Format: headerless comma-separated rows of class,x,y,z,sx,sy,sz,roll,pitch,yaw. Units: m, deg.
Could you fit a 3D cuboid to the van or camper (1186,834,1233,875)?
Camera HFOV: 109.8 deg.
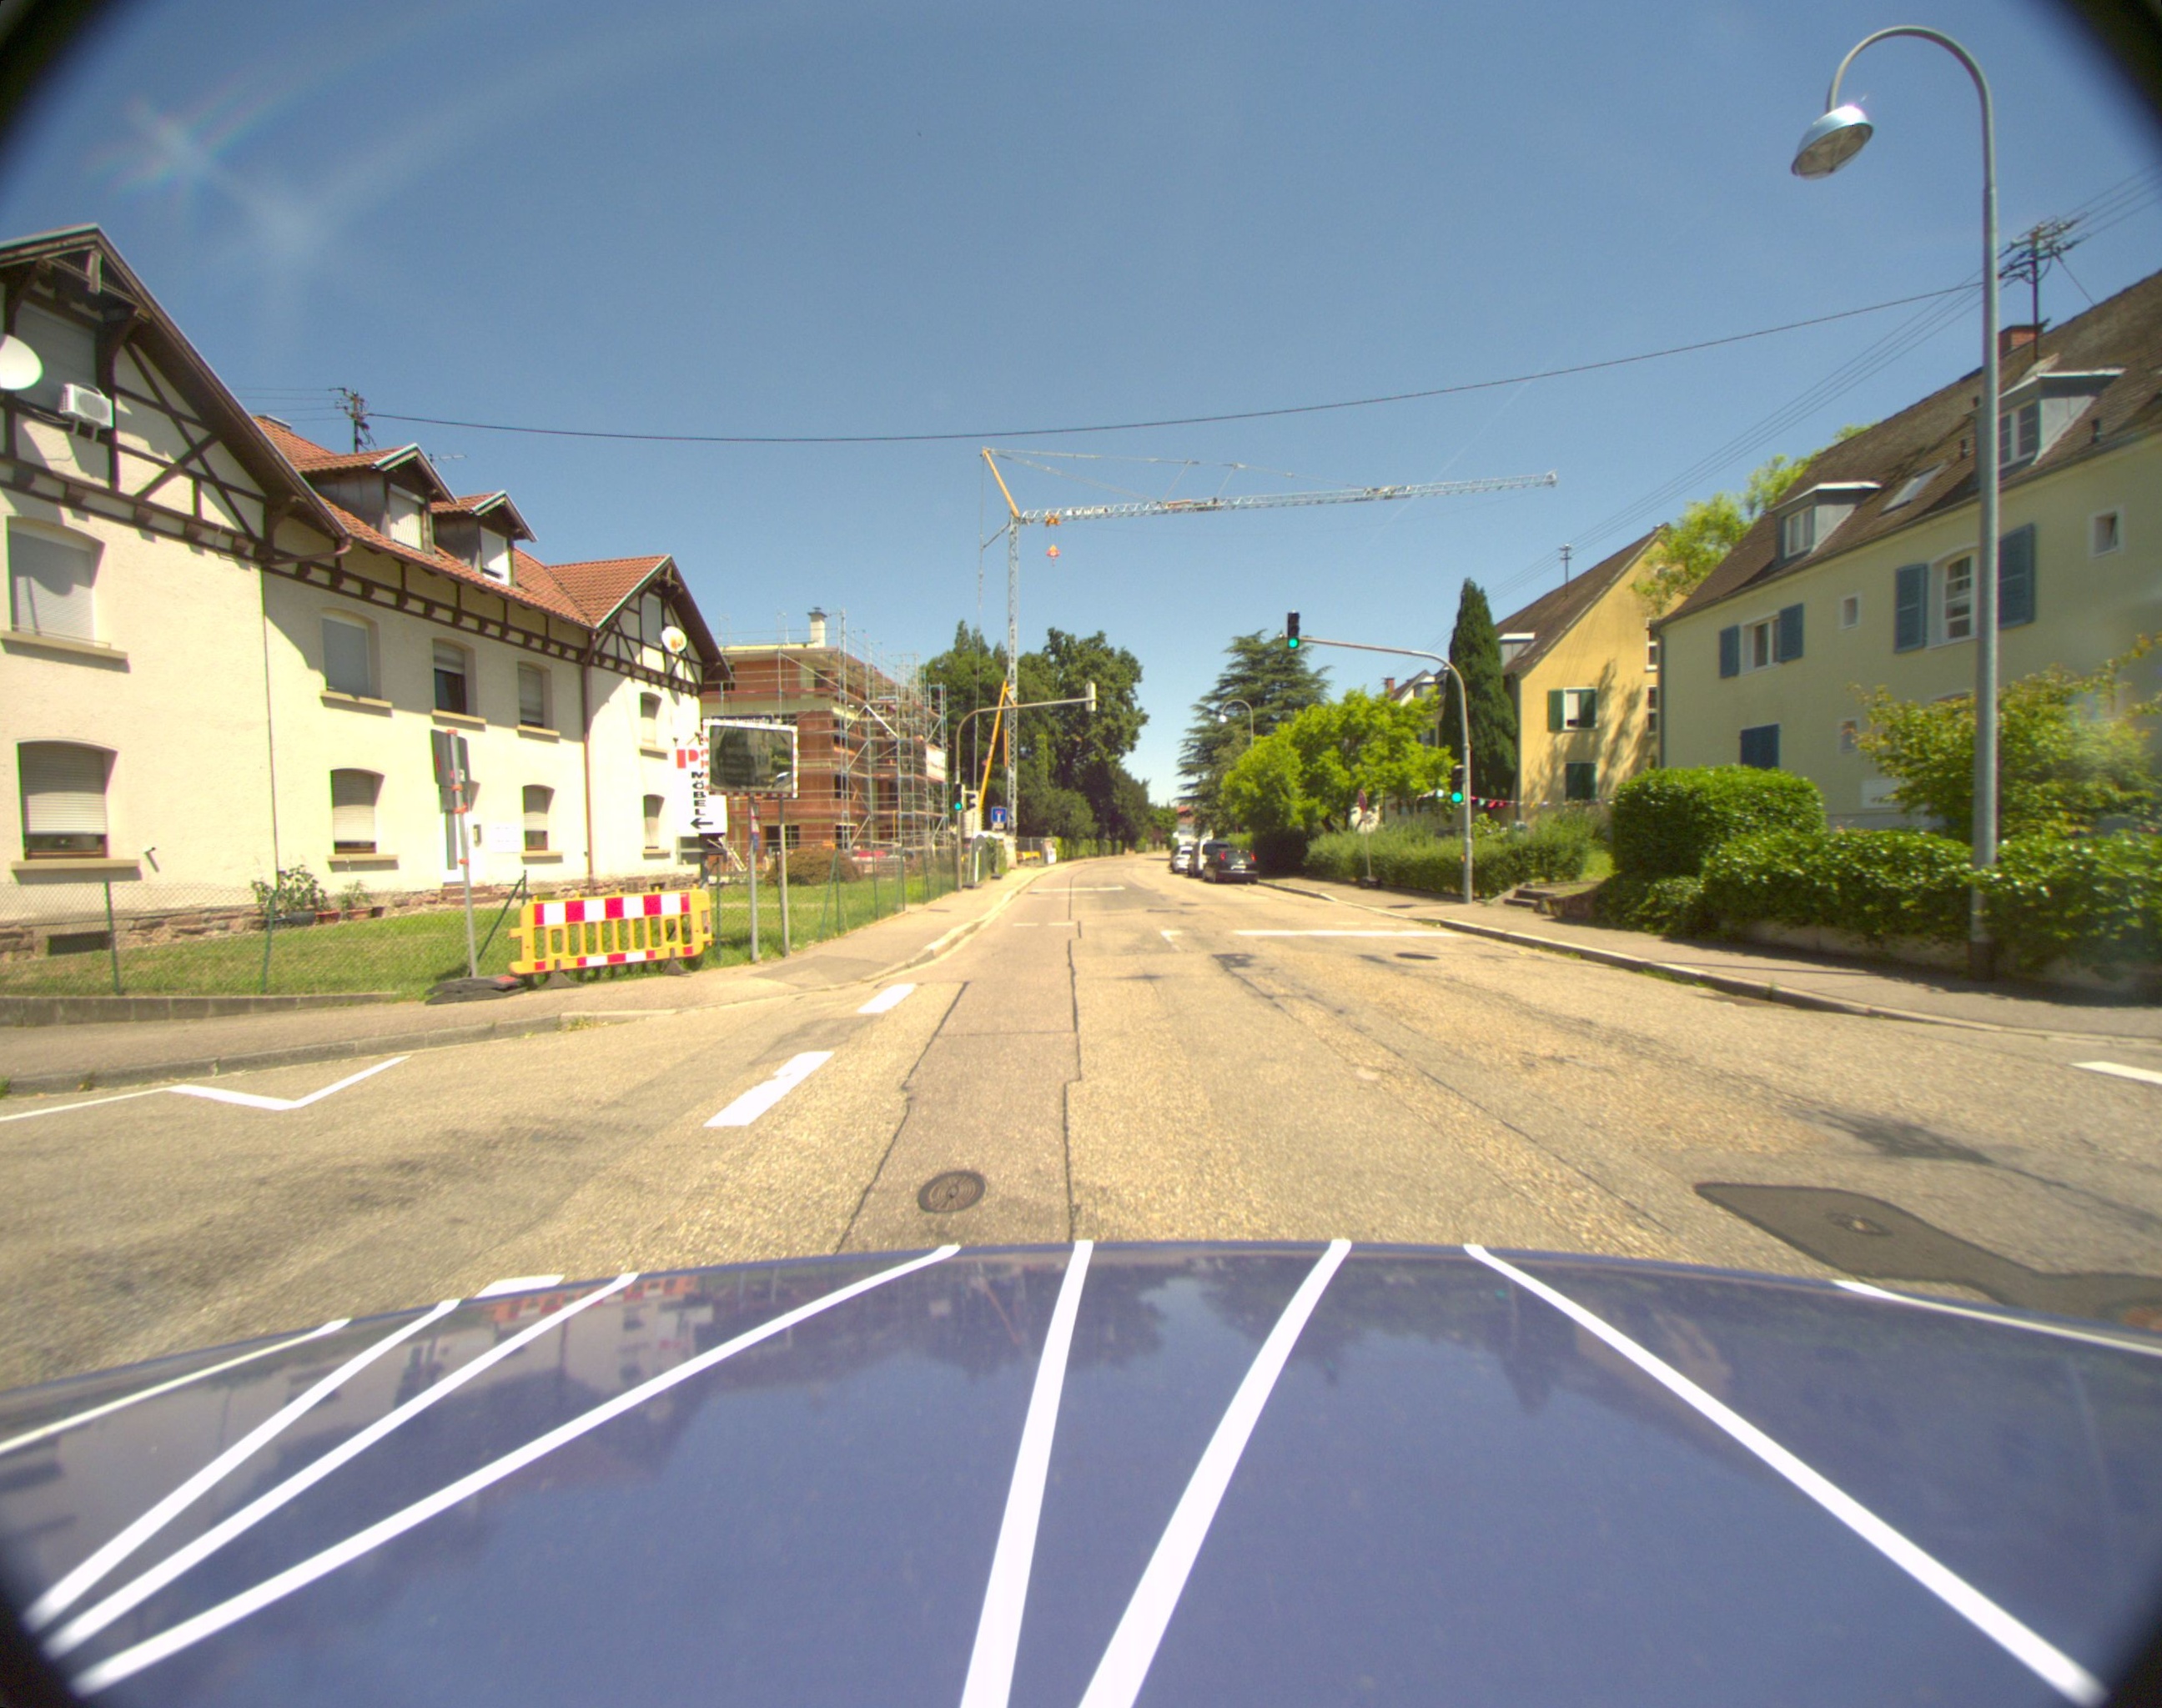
van or camper,6.011,-0.019,35.964,1.685,1.794,3.985,1,1,2

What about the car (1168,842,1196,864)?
car,7.024,-0.107,53.387,1.684,1.467,4.331,1,1,4

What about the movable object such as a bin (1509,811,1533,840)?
movable object such as a bin,18.426,-1.183,31.826,0.622,1.190,0.674,-1,1,2

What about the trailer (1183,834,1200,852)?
trailer,13.222,-1.349,90.533,1.817,2.022,4.002,2,1,9

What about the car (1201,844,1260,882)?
car,6.034,0.325,31.045,1.685,1.404,3.925,1,1,1

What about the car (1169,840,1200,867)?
car,6.518,-0.082,48.068,1.684,1.628,4.331,1,1,4

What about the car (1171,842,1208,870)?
car,5.823,0.067,41.125,1.684,1.433,4.247,1,1,4
